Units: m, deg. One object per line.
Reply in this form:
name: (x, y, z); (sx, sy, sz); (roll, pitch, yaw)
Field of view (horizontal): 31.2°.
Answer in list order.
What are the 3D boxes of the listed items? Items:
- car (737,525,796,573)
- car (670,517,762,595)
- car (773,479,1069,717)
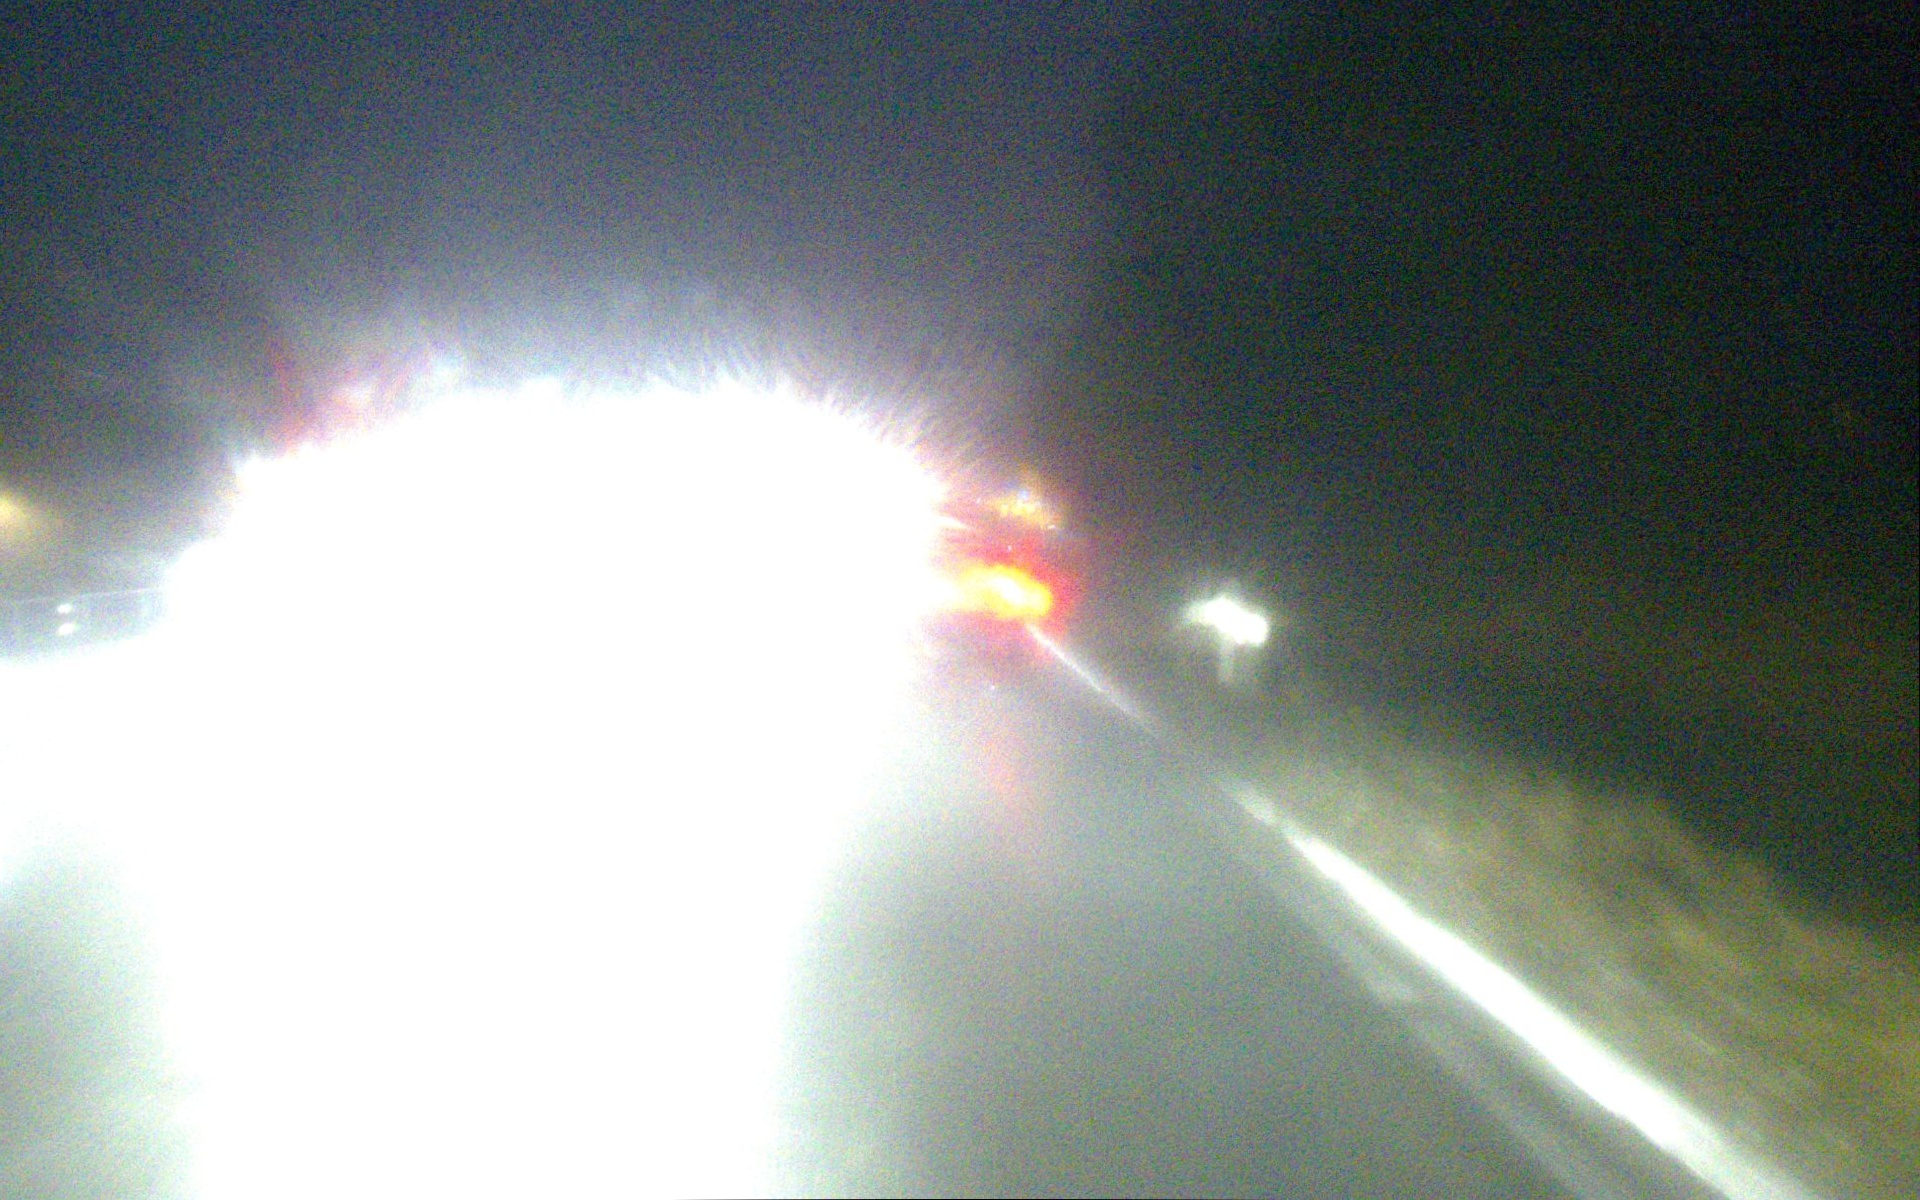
car: (-6.401, -1.708, 114.107); (1.765, 1.514, 4.491); (-2, 1, -1)
car: (-5.317, -0.992, 75.405); (1.804, 1.622, 4.407); (-1, 1, -2)
car: (-0.321, -0.069, 31.739); (2.458, 1.952, 4.912); (2, 1, 0)
